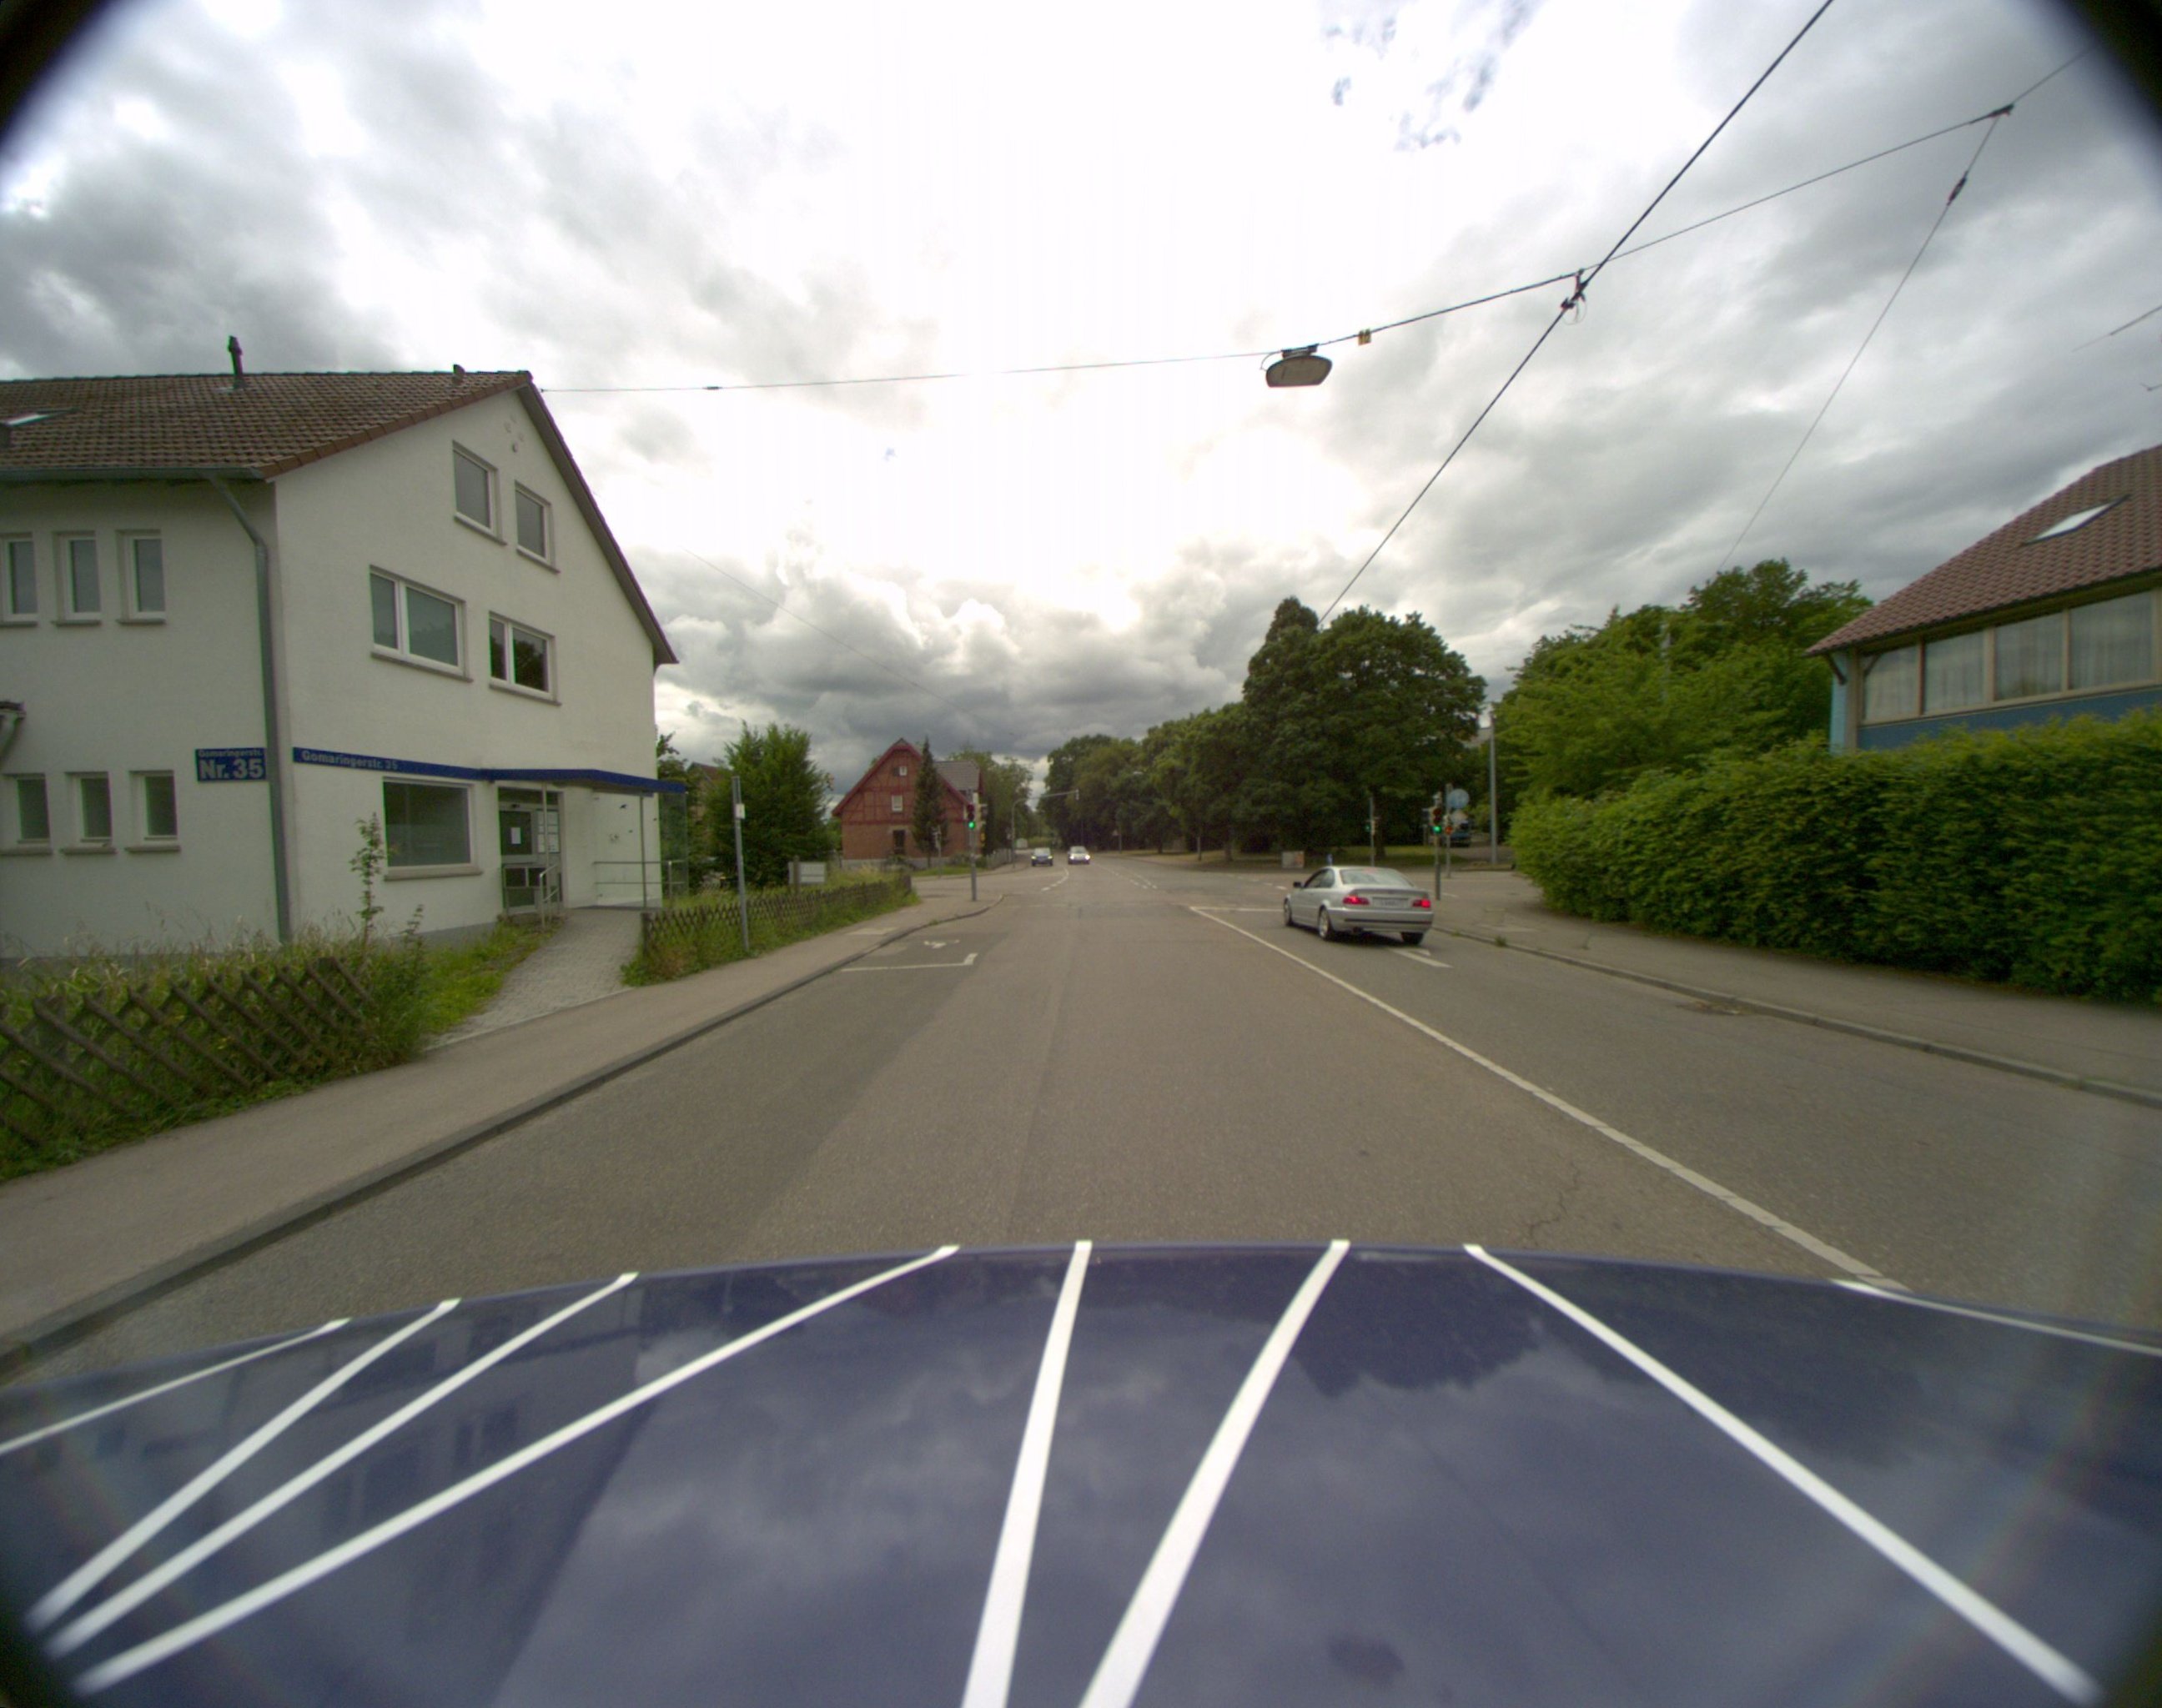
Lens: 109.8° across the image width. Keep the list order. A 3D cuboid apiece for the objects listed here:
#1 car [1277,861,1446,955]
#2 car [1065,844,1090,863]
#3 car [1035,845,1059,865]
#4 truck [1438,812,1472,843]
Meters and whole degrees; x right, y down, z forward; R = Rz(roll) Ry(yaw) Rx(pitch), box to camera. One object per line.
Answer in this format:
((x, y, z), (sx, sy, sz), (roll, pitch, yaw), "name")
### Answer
((5.136, 0.906, 14.546), (1.717, 1.346, 4.083), (4, 1, 1), "car")
((-0.332, -0.054, 68.161), (1.781, 1.510, 3.554), (-3, 2, -8), "car")
((-2.918, 0.043, 65.881), (1.926, 1.510, 3.998), (-2, 2, -1), "car")
((35.750, -2.532, 72.719), (2.477, 2.831, 7.443), (-1, 2, 23), "truck")
